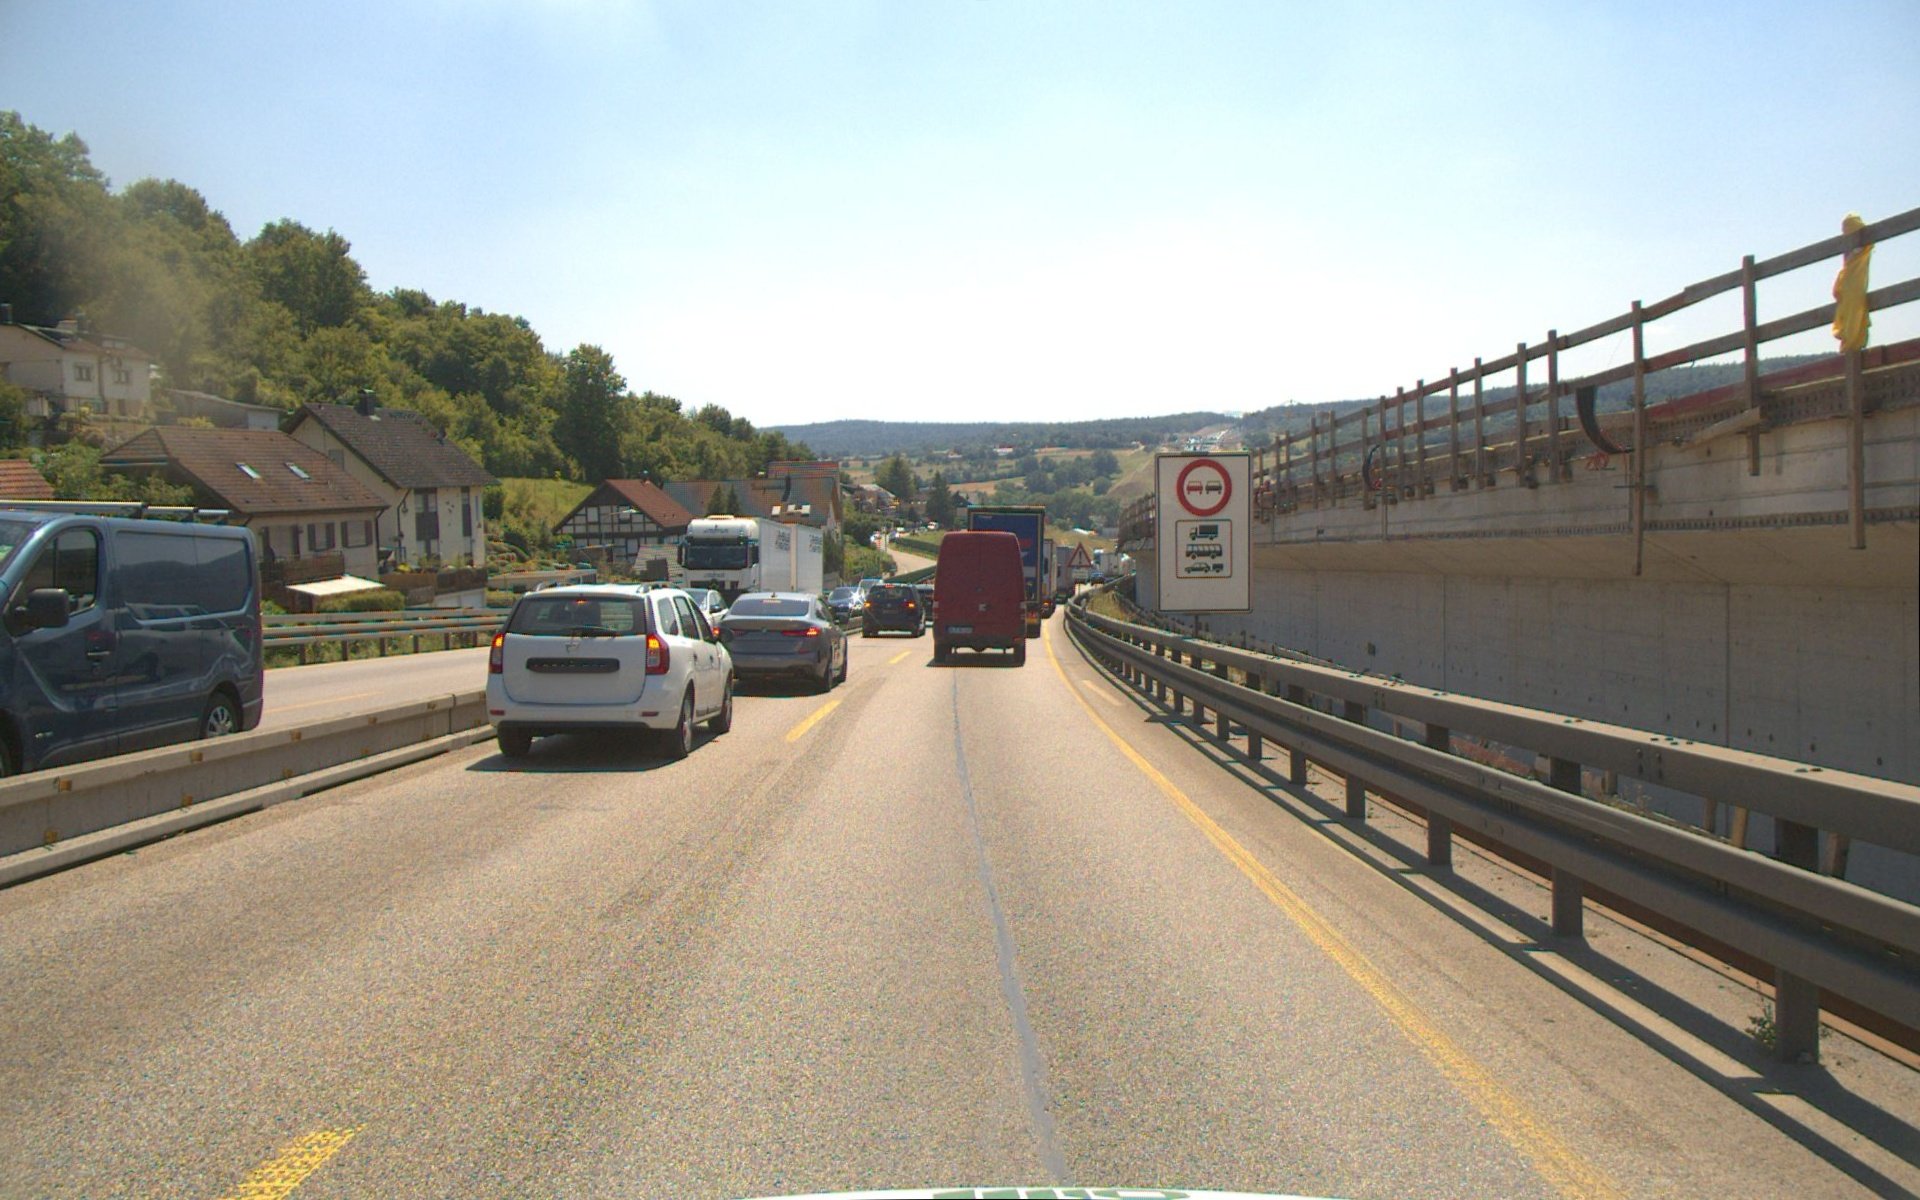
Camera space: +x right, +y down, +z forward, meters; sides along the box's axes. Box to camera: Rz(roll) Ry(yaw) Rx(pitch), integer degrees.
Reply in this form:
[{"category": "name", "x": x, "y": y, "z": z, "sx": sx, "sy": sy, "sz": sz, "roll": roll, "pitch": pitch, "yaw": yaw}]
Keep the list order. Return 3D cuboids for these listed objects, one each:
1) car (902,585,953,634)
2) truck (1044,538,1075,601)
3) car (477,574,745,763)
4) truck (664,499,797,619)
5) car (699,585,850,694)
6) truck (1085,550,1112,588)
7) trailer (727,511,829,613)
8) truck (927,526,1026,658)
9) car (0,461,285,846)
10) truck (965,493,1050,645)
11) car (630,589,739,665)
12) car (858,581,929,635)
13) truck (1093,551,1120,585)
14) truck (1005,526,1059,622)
[{"category": "car", "x": -1.251, "y": 0.375, "z": 65.005, "sx": 1.693, "sy": 1.870, "sz": 4.001, "roll": 0, "pitch": -1, "yaw": 3}, {"category": "truck", "x": 7.256, "y": -2.152, "z": 120.345, "sx": 1.951, "sy": 4.458, "sz": 4.003, "roll": 0, "pitch": -1, "yaw": 8}, {"category": "car", "x": -3.184, "y": 0.582, "z": 15.894, "sx": 1.618, "sy": 1.509, "sz": 4.266, "roll": -2, "pitch": 0, "yaw": 0}, {"category": "truck", "x": -8.588, "y": -1.512, "z": 63.475, "sx": 2.915, "sy": 4.235, "sz": 10.551, "roll": 0, "pitch": 1, "yaw": 4}, {"category": "car", "x": -2.722, "y": 0.549, "z": 25.145, "sx": 1.757, "sy": 1.511, "sz": 4.050, "roll": 0, "pitch": 0, "yaw": 1}, {"category": "truck", "x": 17.570, "y": -3.871, "z": 209.261, "sx": 3.004, "sy": 4.458, "sz": 8.563, "roll": 0, "pitch": -1, "yaw": 8}, {"category": "trailer", "x": -7.919, "y": -1.613, "z": 73.226, "sx": 2.940, "sy": 4.238, "sz": 9.022, "roll": 0, "pitch": 0, "yaw": 4}, {"category": "truck", "x": 0.409, "y": -0.141, "z": 35.084, "sx": 1.952, "sy": 2.624, "sz": 4.001, "roll": 0, "pitch": -1, "yaw": 2}, {"category": "car", "x": -6.502, "y": 0.324, "z": 11.133, "sx": 1.953, "sy": 2.211, "sz": 4.831, "roll": 0, "pitch": -1, "yaw": -1}, {"category": "truck", "x": 1.759, "y": -0.940, "z": 58.180, "sx": 2.728, "sy": 4.900, "sz": 9.688, "roll": 0, "pitch": -1, "yaw": 3}, {"category": "car", "x": -5.983, "y": 0.538, "z": 36.264, "sx": 1.548, "sy": 1.548, "sz": 4.155, "roll": 0, "pitch": 1, "yaw": 2}, {"category": "car", "x": -2.059, "y": 0.253, "z": 52.022, "sx": 1.772, "sy": 1.636, "sz": 3.721, "roll": 0, "pitch": -1, "yaw": 5}, {"category": "truck", "x": 20.441, "y": -4.387, "z": 230.176, "sx": 3.393, "sy": 4.458, "sz": 8.563, "roll": 0, "pitch": -1, "yaw": 8}, {"category": "truck", "x": 3.921, "y": -1.266, "z": 89.017, "sx": 2.728, "sy": 4.900, "sz": 9.688, "roll": 0, "pitch": -1, "yaw": 3}]
